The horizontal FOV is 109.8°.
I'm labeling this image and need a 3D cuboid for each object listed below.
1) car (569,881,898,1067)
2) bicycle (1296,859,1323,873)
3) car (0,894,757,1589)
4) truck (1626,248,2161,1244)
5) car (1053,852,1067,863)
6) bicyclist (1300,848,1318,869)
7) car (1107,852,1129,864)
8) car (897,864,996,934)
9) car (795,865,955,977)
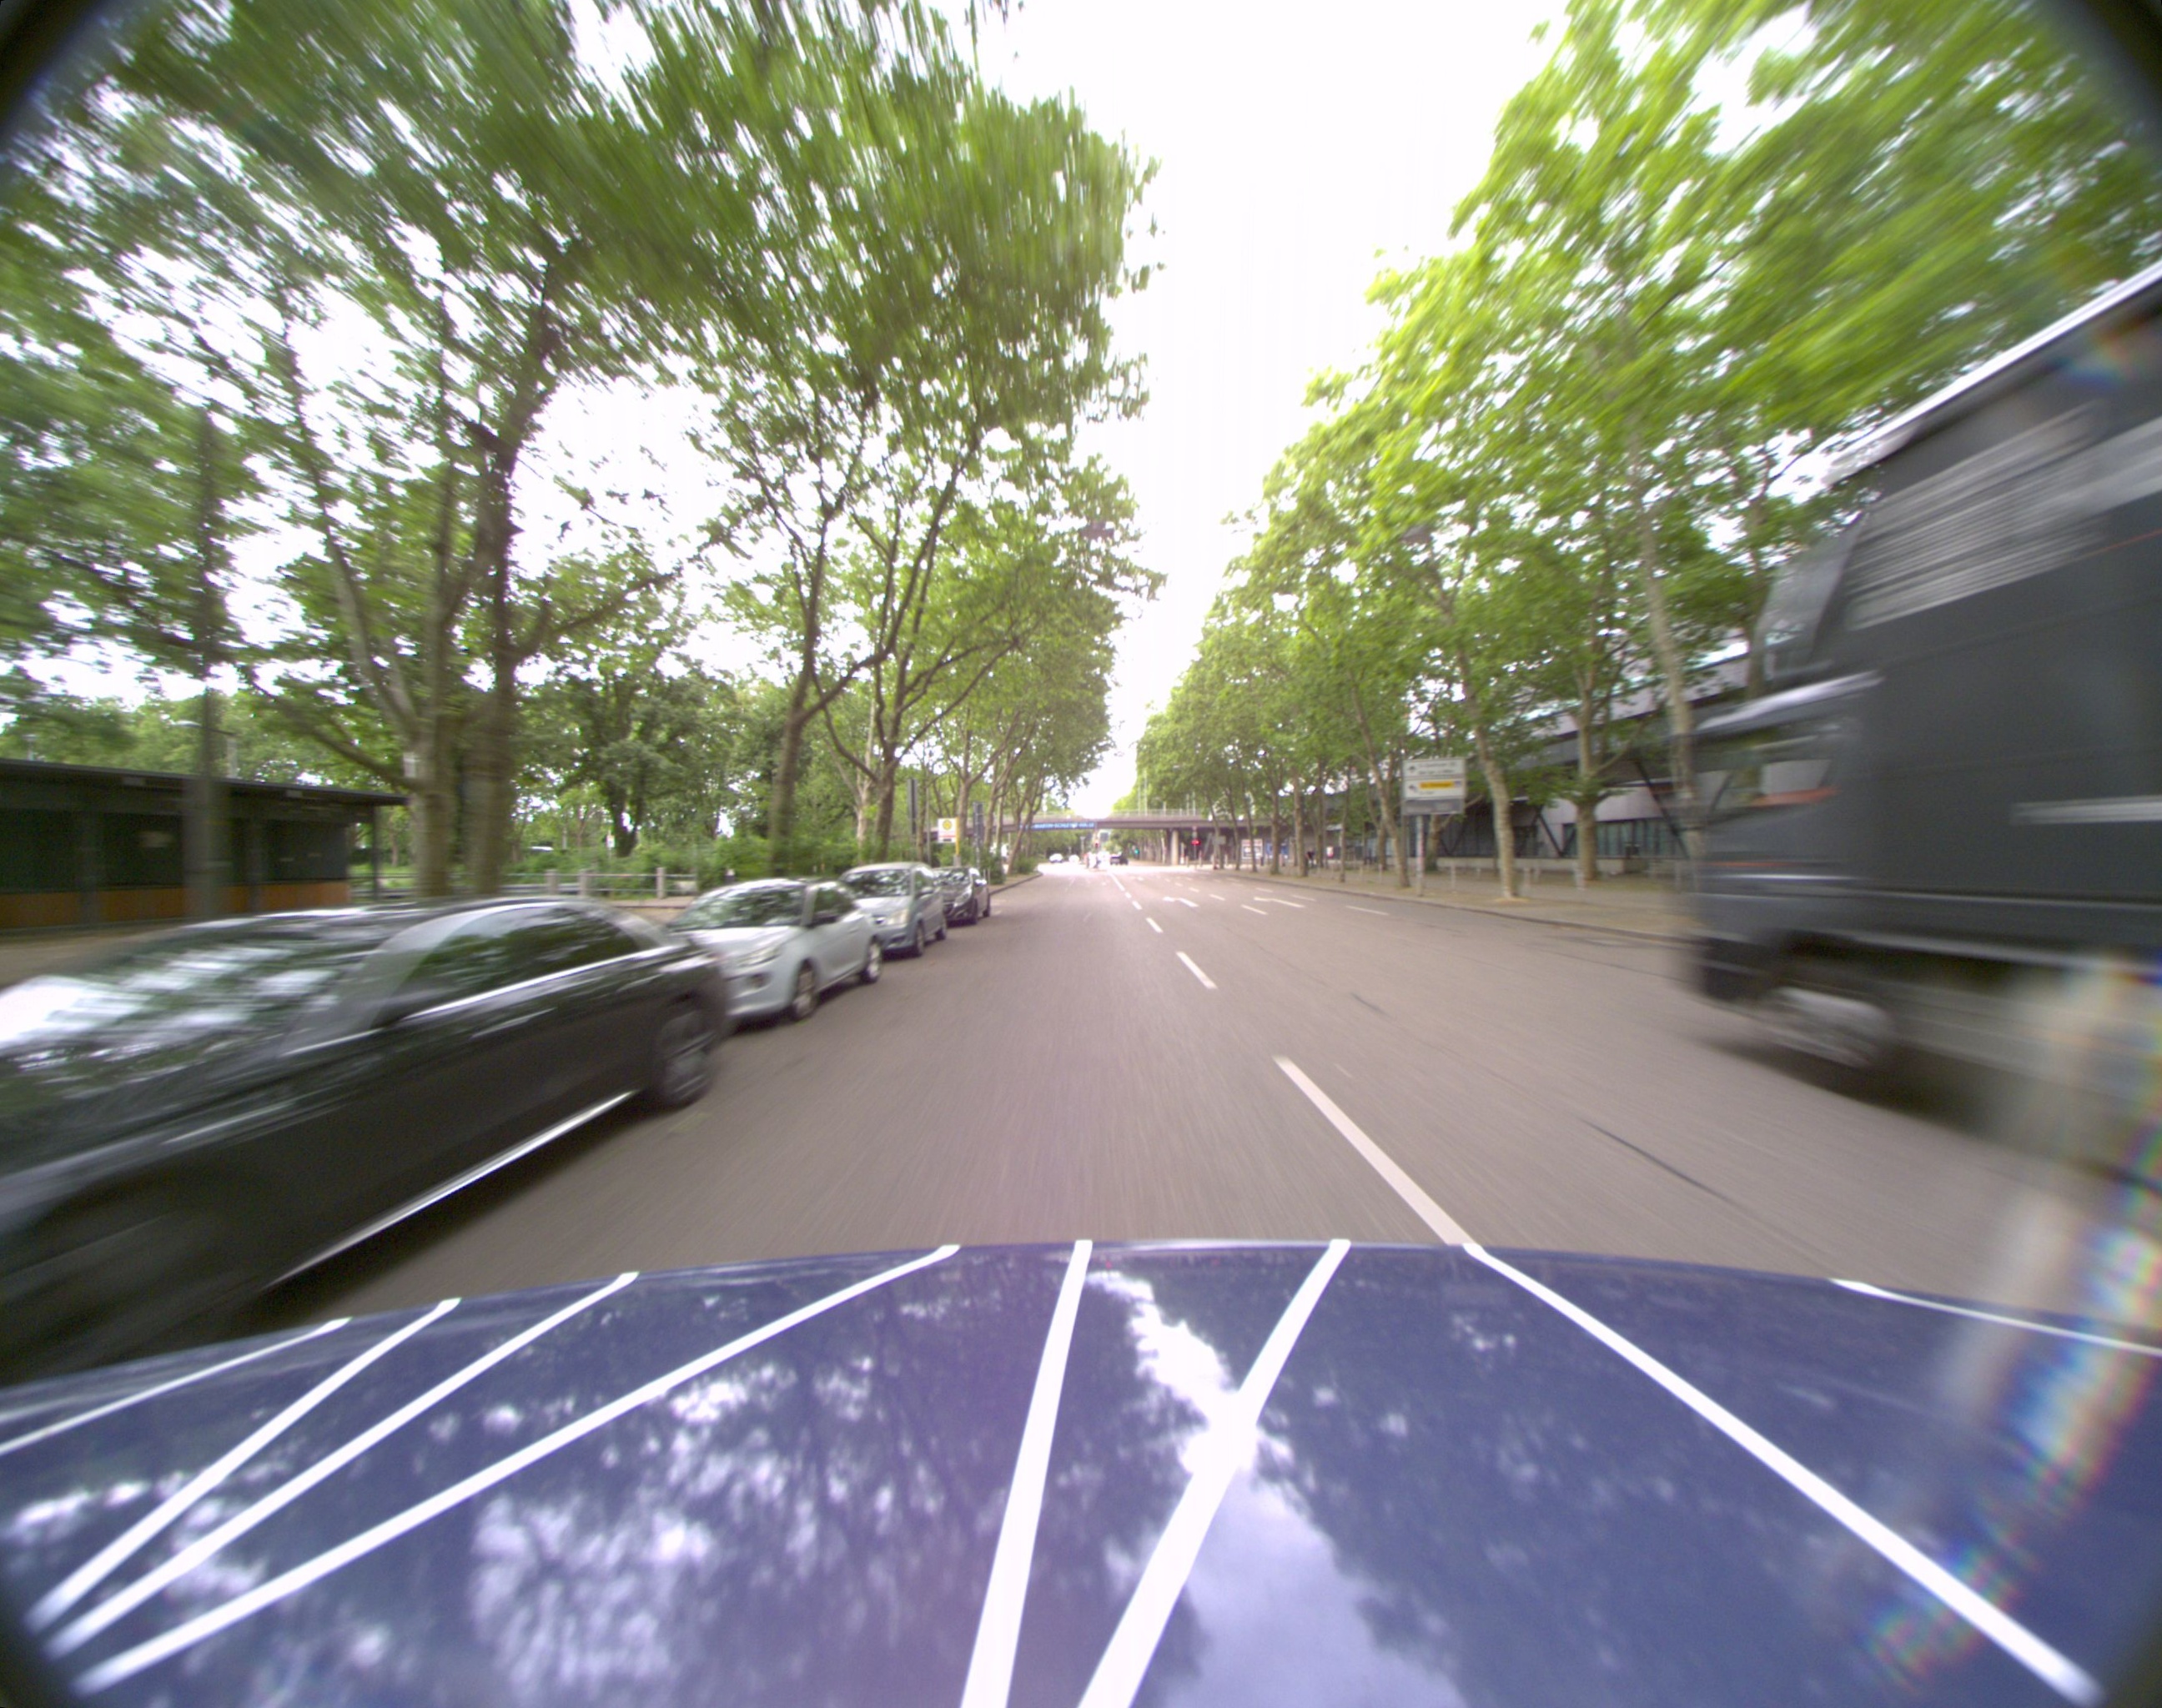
[{"bbox_3d":[-3.594,1.148,8.812,1.734,1.413,4.080,-3,0,2],"label":"car"},{"bbox_3d":[16.116,0.832,53.650,0.962,0.977,2.977,-1,0,-1],"label":"bicycle"},{"bbox_3d":[-3.490,1.102,3.402,1.734,1.468,4.982,-3,0,2],"label":"car"},{"bbox_3d":[5.485,-0.394,1.328,2.916,3.846,9.469,0,1,5],"label":"truck"},{"bbox_3d":[-3.727,0.606,135.990,1.998,1.772,4.132,-1,0,4],"label":"car"},{"bbox_3d":[16.089,0.306,53.649,0.938,1.402,1.121,-1,0,-1],"label":"bicyclist"},{"bbox_3d":[5.457,0.603,111.906,1.995,1.765,4.006,-1,0,23],"label":"car"},{"bbox_3d":[-3.363,1.076,19.766,1.734,1.460,4.079,-3,0,0],"label":"car"},{"bbox_3d":[-3.499,1.053,13.716,1.734,1.560,4.079,-3,0,-1],"label":"car"}]
